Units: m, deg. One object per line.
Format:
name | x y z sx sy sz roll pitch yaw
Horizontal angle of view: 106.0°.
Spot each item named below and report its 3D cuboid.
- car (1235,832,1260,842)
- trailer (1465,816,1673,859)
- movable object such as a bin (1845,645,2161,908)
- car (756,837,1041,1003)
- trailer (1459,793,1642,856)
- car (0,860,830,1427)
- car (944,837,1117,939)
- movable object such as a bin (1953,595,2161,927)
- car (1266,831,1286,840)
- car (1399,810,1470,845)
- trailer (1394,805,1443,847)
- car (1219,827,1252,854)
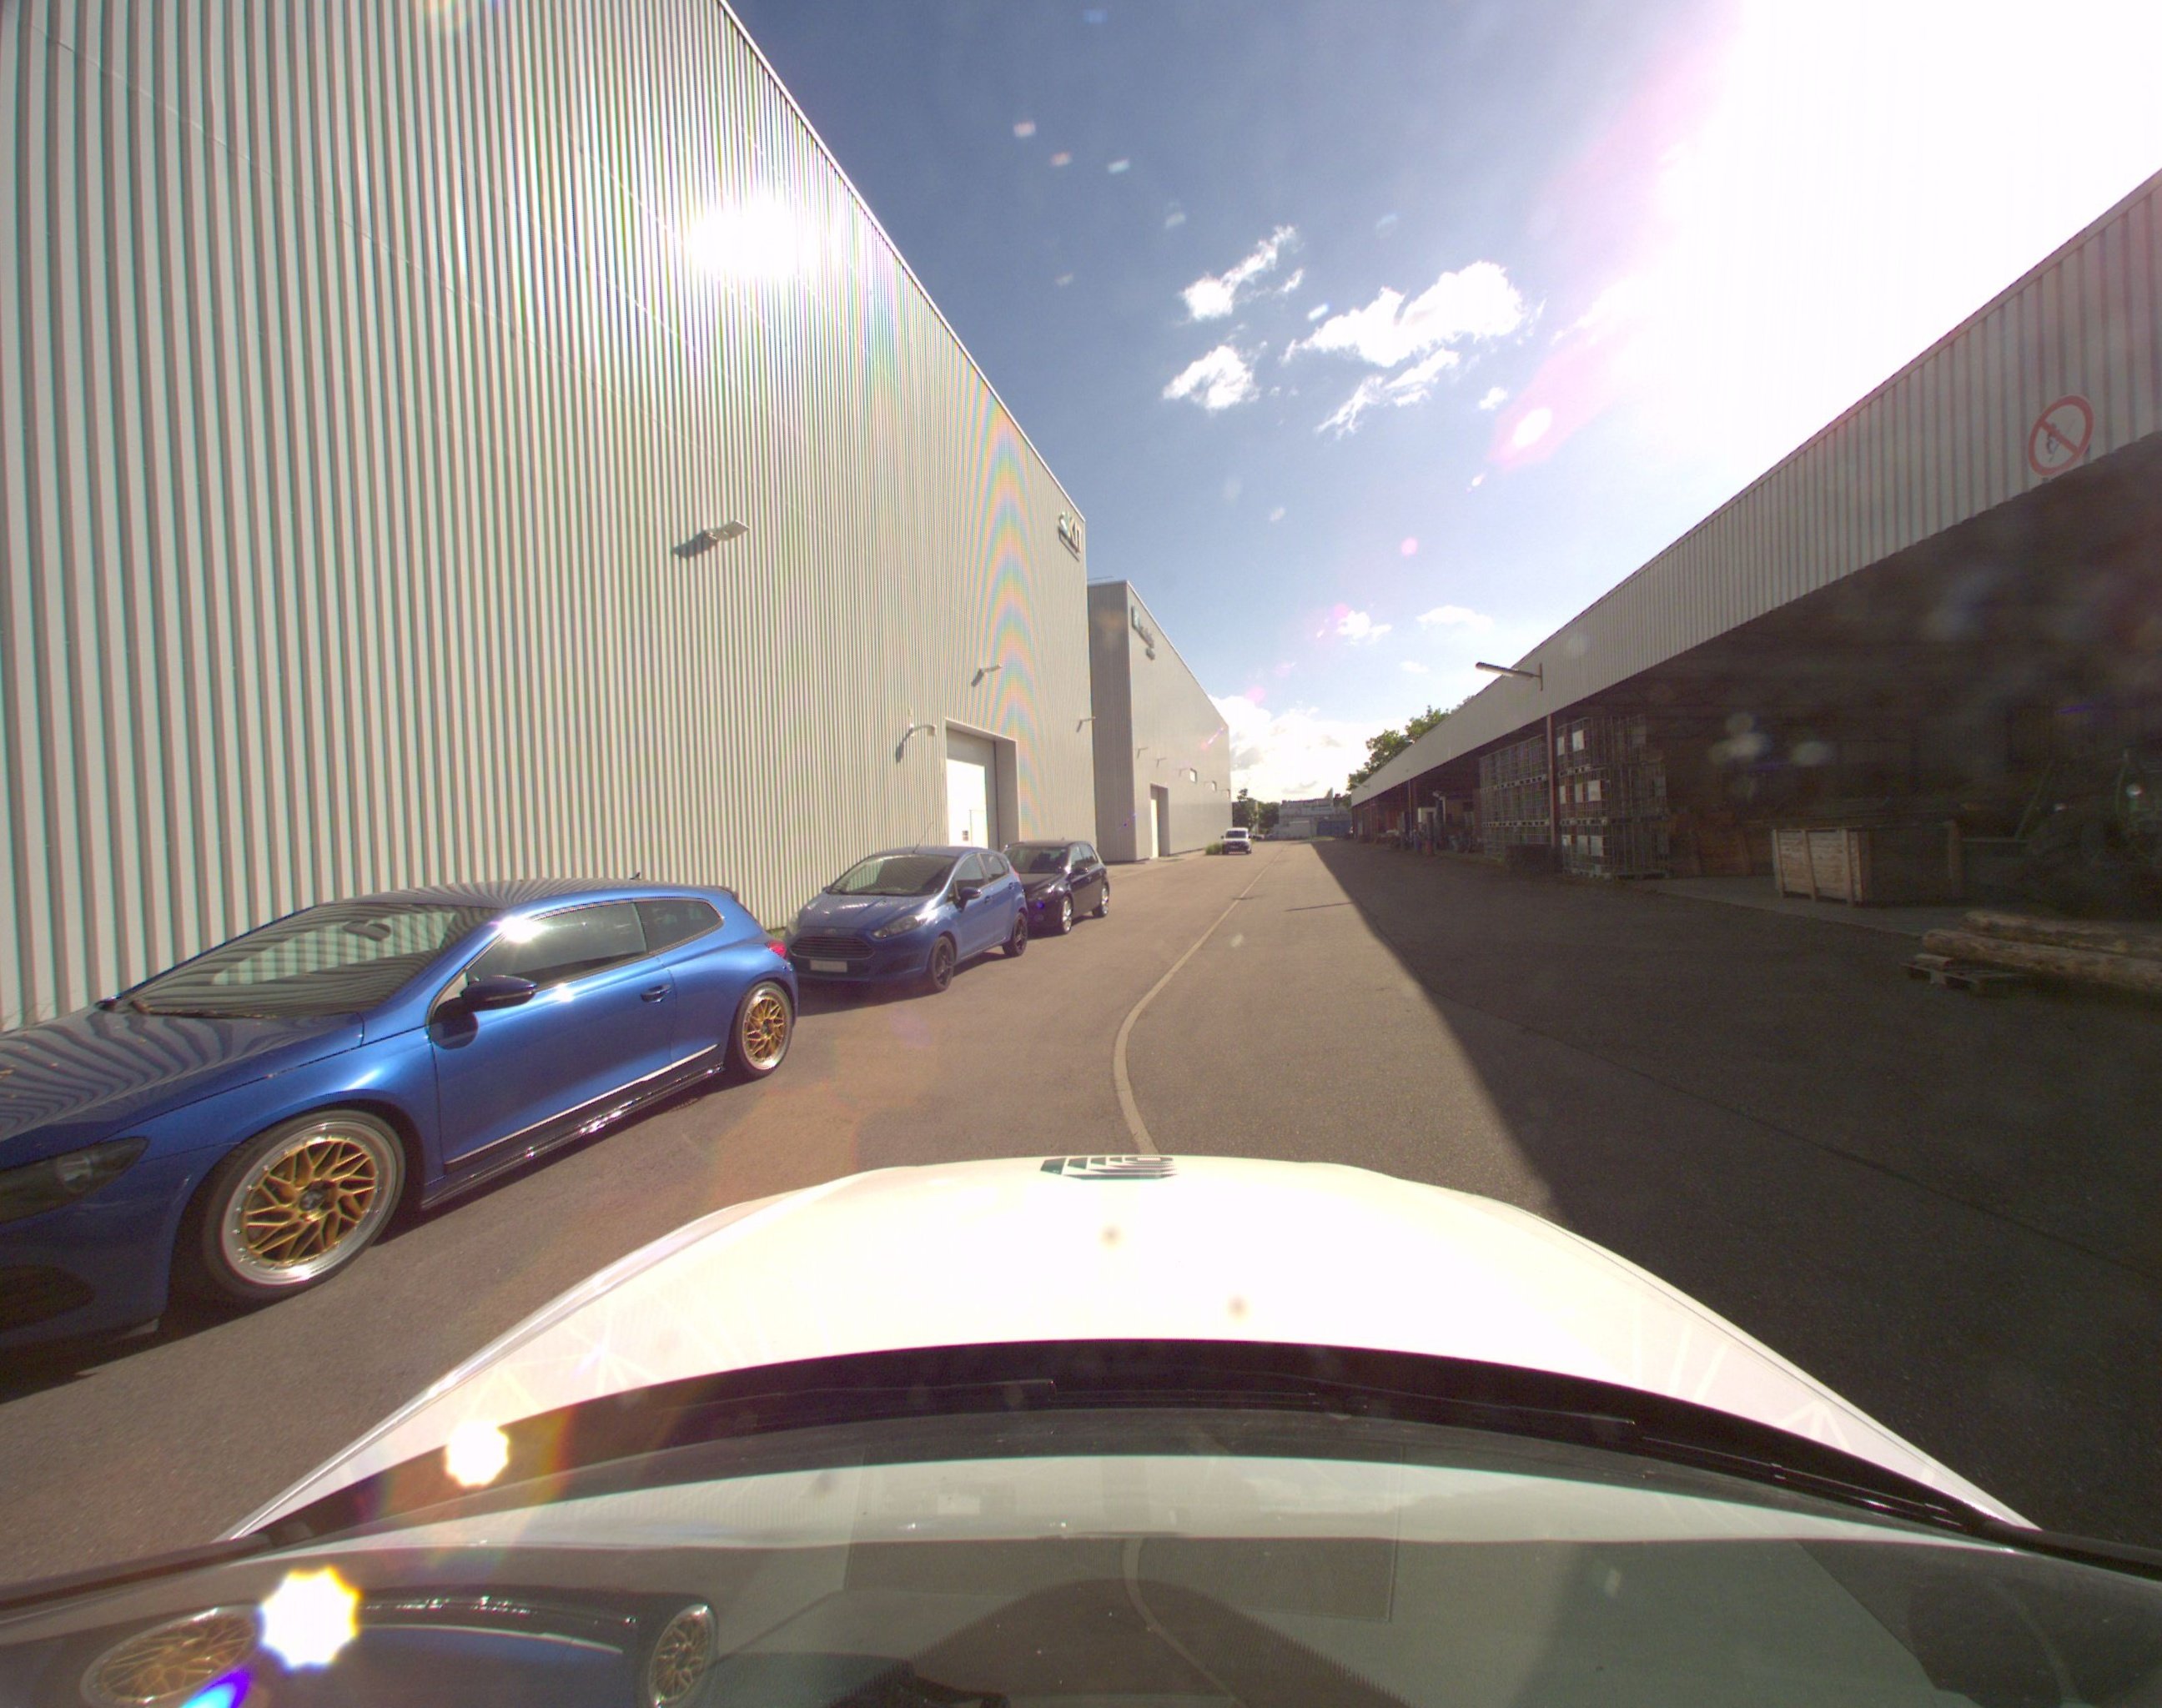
car | 27.996 -2.782 136.651 3.958 1.598 1.748 -1 -1 14
trailer | 16.792 -0.572 28.374 5.807 1.133 2.149 -3 1 13
movable object such as a bin | 14.167 -0.983 10.086 6.139 2.909 3.029 -2 1 15
car | -1.850 0.568 9.680 1.619 1.500 4.111 1 2 14
trailer | 17.902 -1.117 31.402 5.722 2.032 2.087 -3 1 16
car | -3.240 0.797 4.277 1.761 1.360 4.069 -1 1 14
car | -0.694 0.461 14.457 1.741 1.500 4.312 0 1 15
movable object such as a bin | 14.093 -0.989 6.680 9.123 2.909 3.225 -2 1 15
car | 38.943 -3.736 162.708 3.958 1.598 1.855 -1 -1 14
car | 24.943 -1.871 57.621 4.399 2.309 1.923 -1 -1 16
trailer | 20.557 -1.662 49.654 2.504 2.398 1.734 -2 0 16
car | 10.656 -0.953 55.864 1.805 1.787 4.424 -1 2 16
